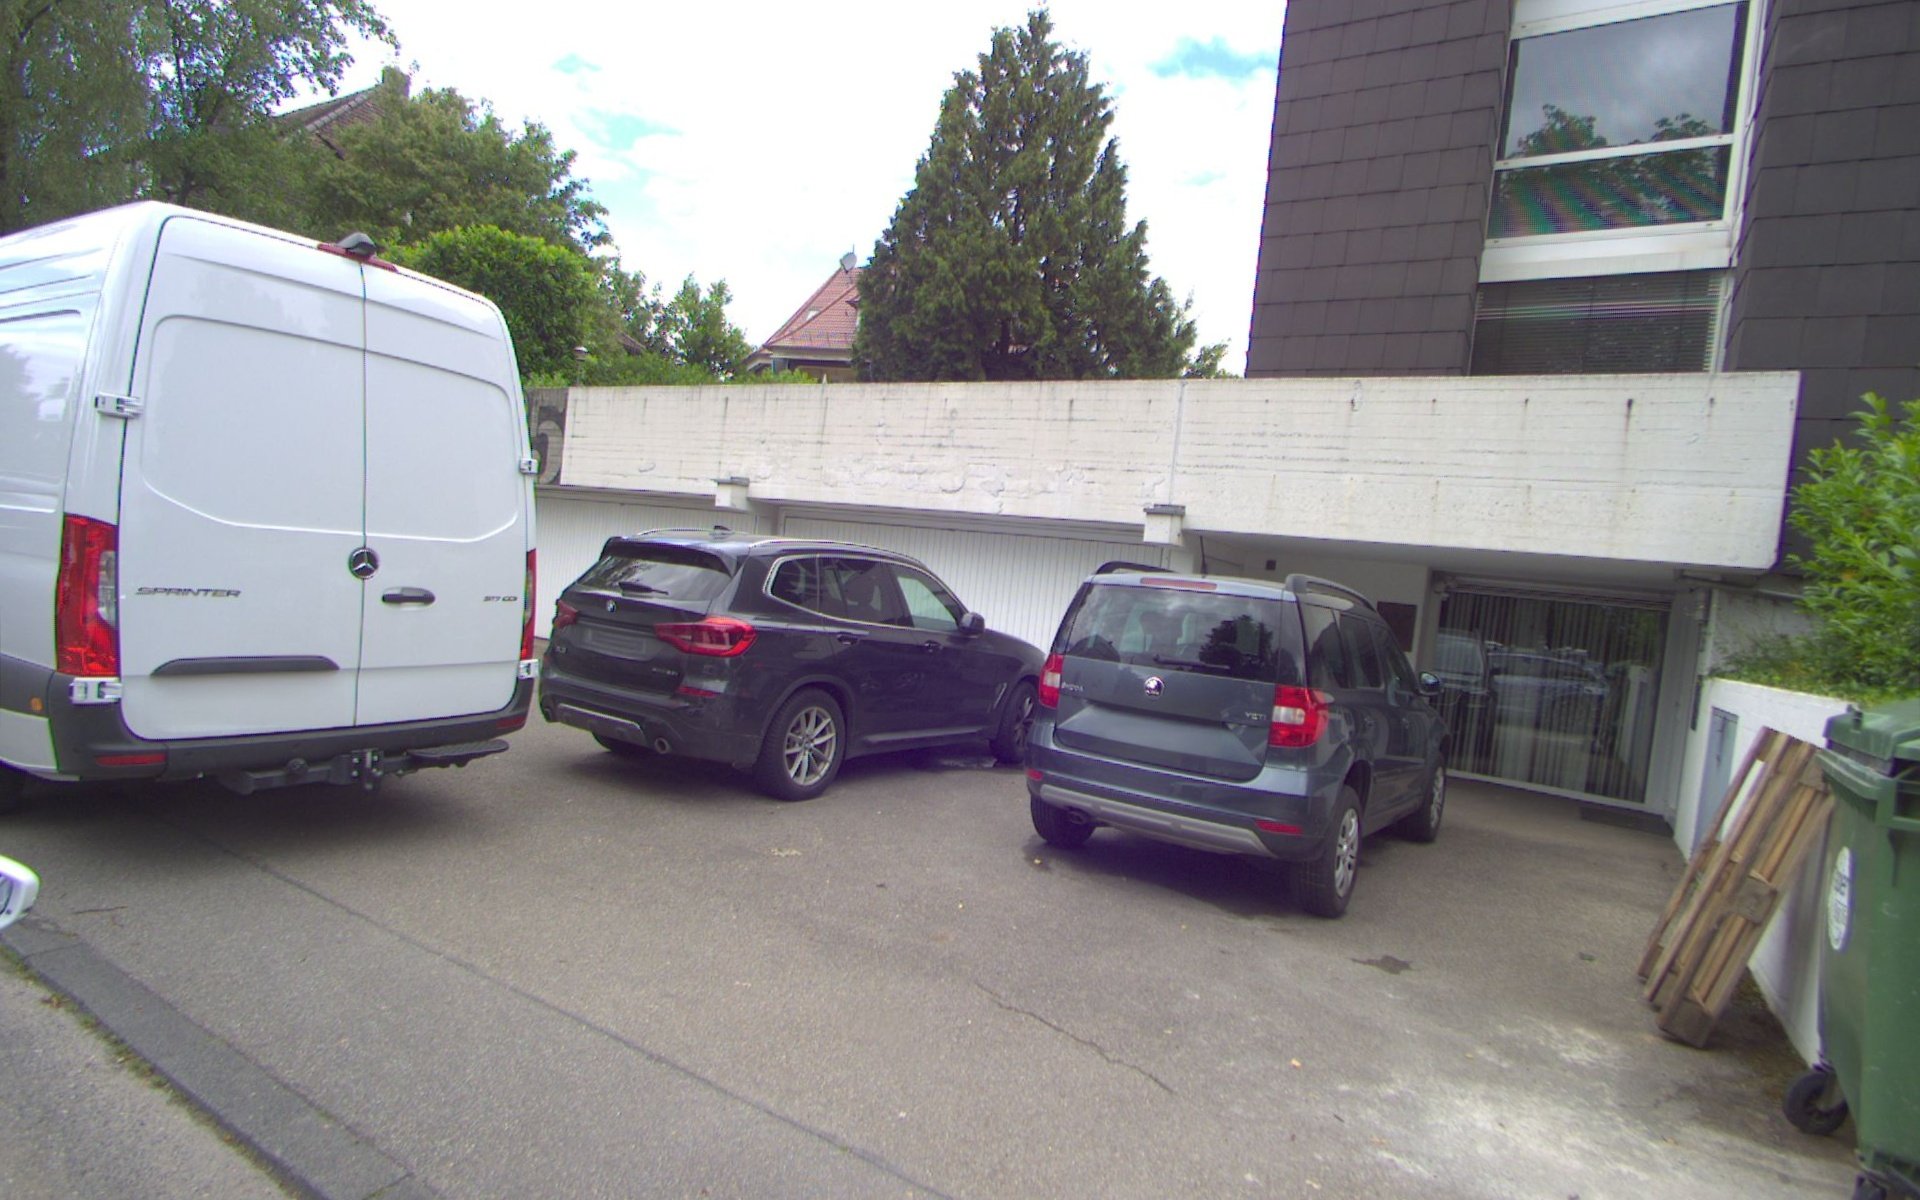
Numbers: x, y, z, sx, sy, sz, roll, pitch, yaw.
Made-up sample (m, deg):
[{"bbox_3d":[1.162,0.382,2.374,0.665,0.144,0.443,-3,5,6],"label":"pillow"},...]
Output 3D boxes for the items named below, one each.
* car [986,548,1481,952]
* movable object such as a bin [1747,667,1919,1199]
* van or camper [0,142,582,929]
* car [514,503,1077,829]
[{"bbox_3d":[2.019,0.725,6.461,1.717,1.672,3.899,6,1,35],"label":"car"},{"bbox_3d":[2.944,0.975,2.640,1.098,1.469,1.405,6,1,32],"label":"movable object such as a bin"},{"bbox_3d":[-5.214,-0.467,5.947,6.436,2.662,1.990,6,4,32],"label":"van or camper"},{"bbox_3d":[-0.871,0.409,7.701,1.668,1.696,4.383,6,1,32],"label":"car"}]
